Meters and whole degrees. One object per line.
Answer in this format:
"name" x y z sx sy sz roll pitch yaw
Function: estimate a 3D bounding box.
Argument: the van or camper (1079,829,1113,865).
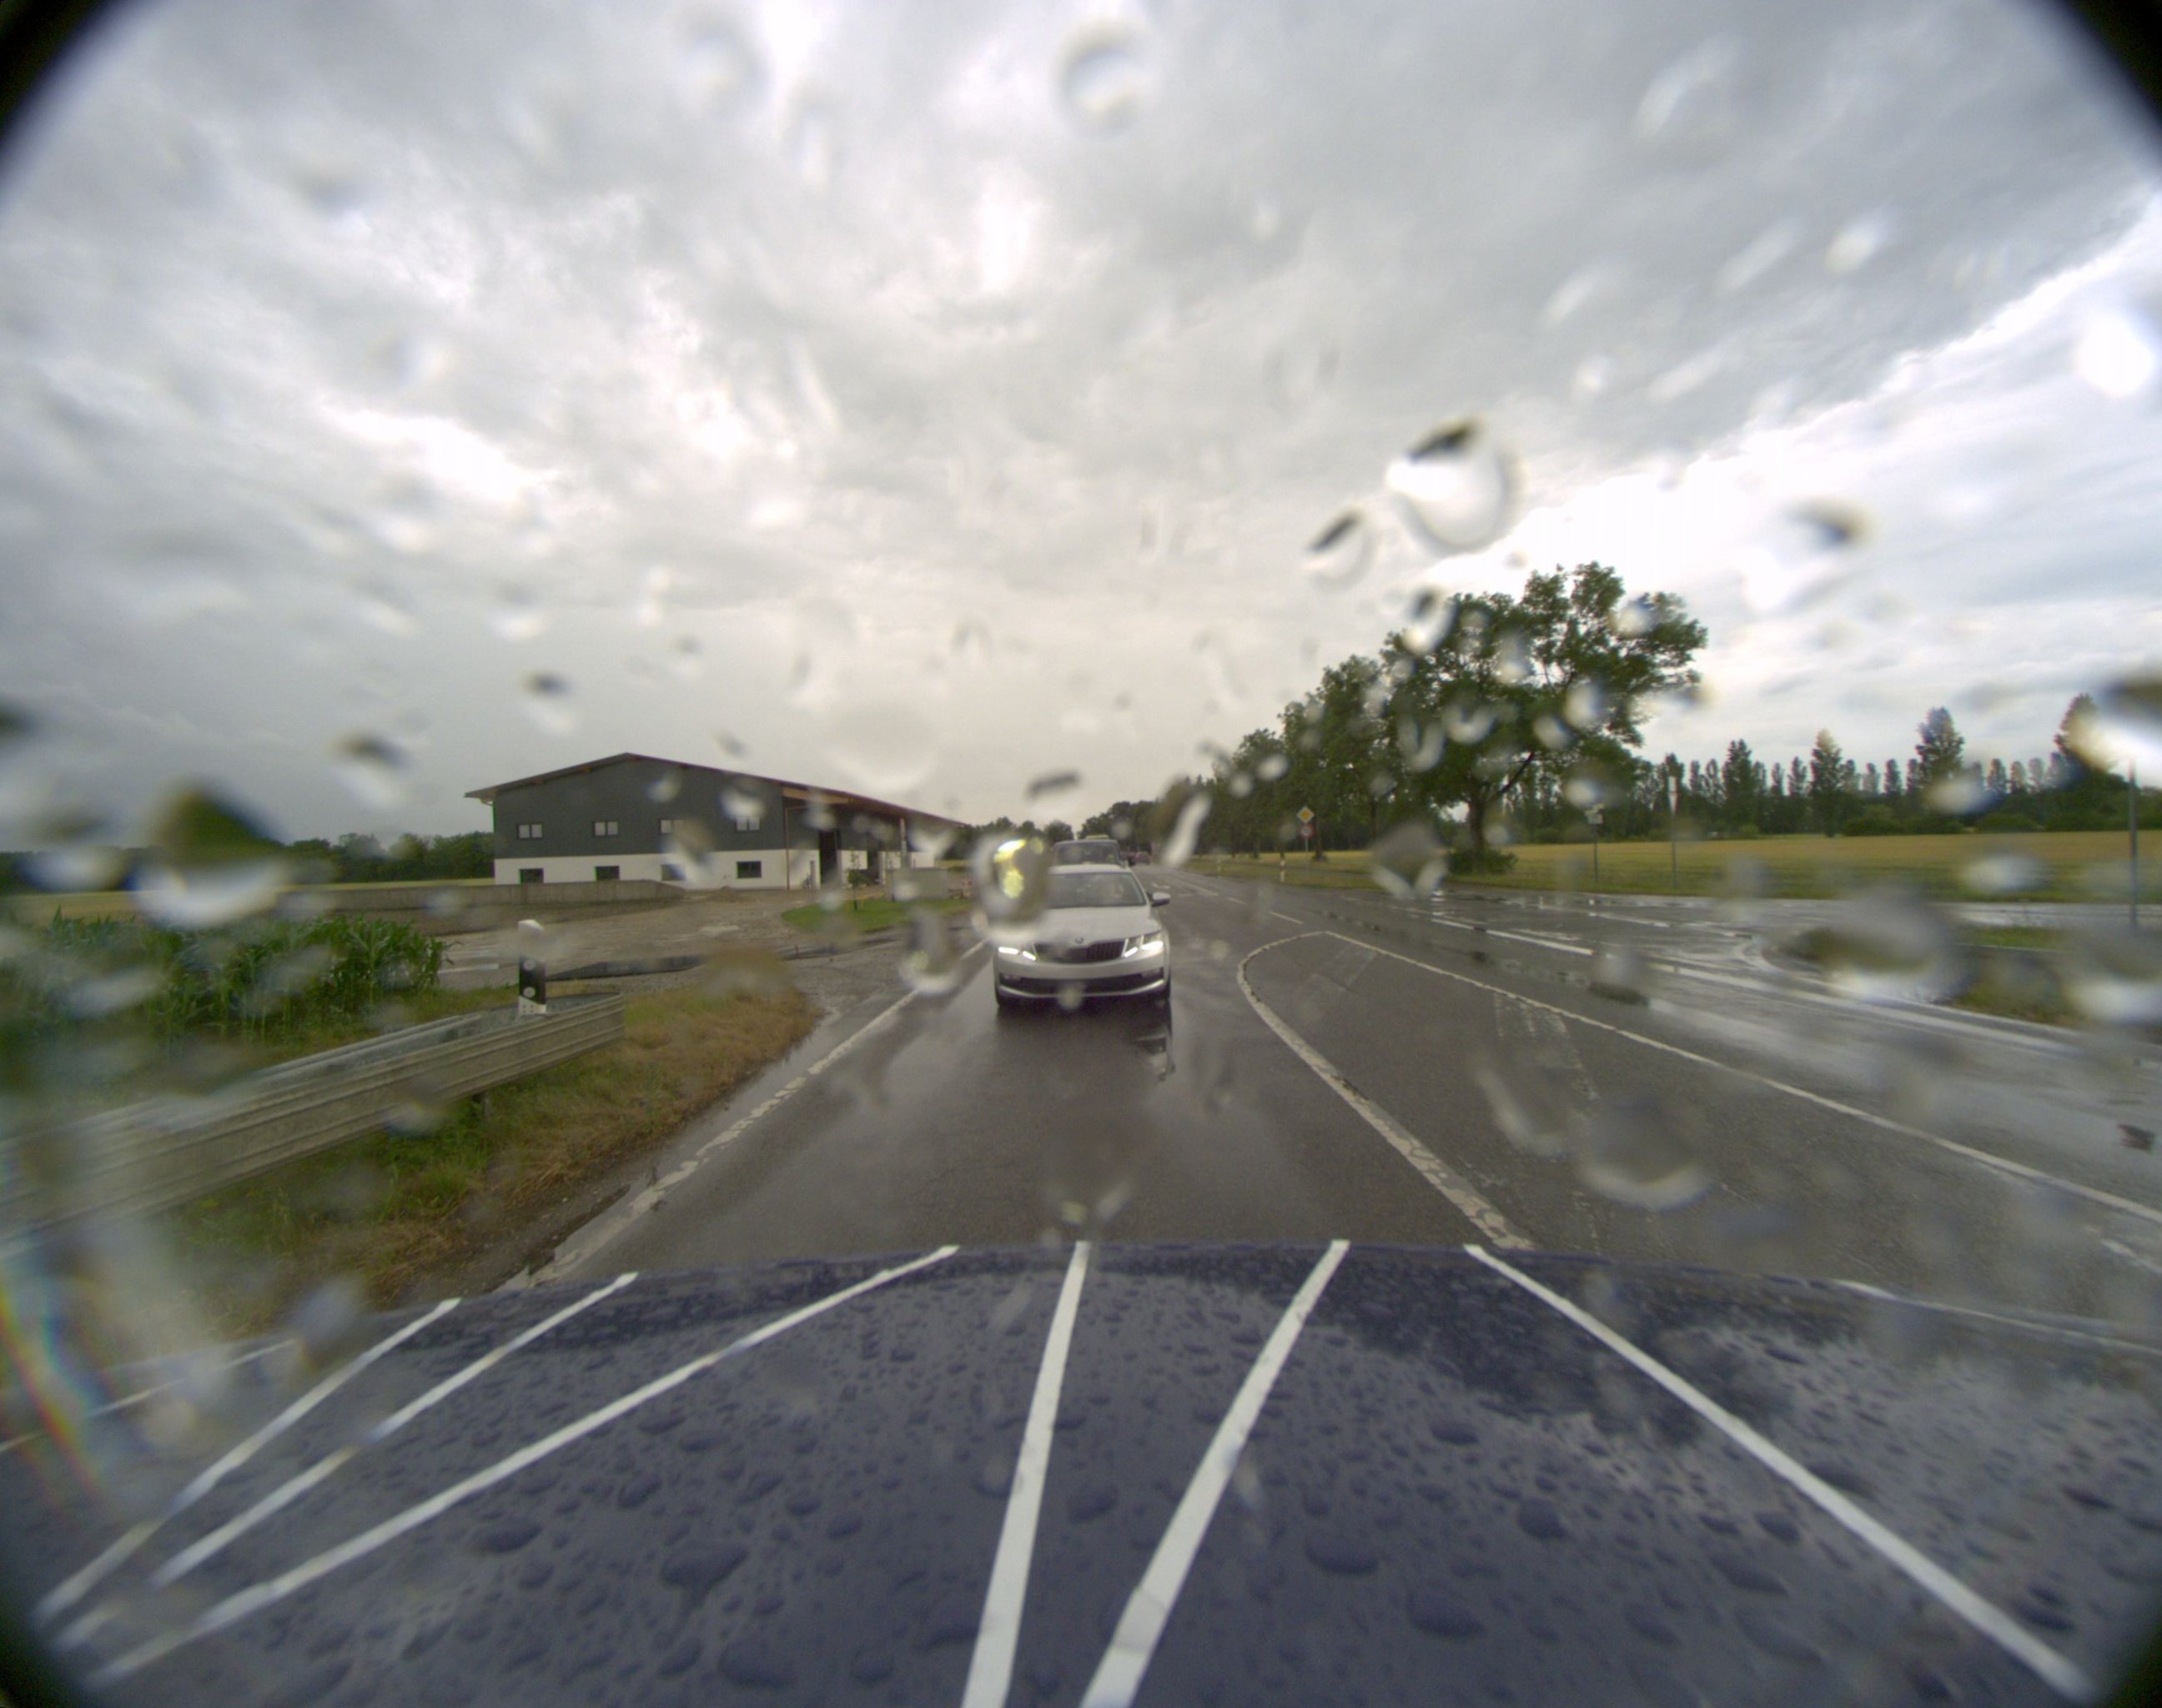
"van or camper" 1.680 -0.744 81.034 3.342 3.624 8.373 -2 1 2

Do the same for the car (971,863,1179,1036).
"car" 0.016 0.860 8.903 1.770 1.365 4.576 -2 1 2

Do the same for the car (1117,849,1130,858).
"car" 7.404 -0.084 132.006 1.949 1.571 4.443 -2 0 1

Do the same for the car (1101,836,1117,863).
"car" 3.426 -0.519 92.740 1.771 3.134 4.028 -2 1 1

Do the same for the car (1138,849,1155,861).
"car" 8.118 0.131 94.513 1.773 1.514 4.141 0 0 2

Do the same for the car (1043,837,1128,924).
"car" 0.179 0.568 19.322 1.841 1.888 4.576 -2 1 2

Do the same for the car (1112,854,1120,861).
"car" 7.529 0.685 161.797 1.716 1.397 3.814 -1 0 3
